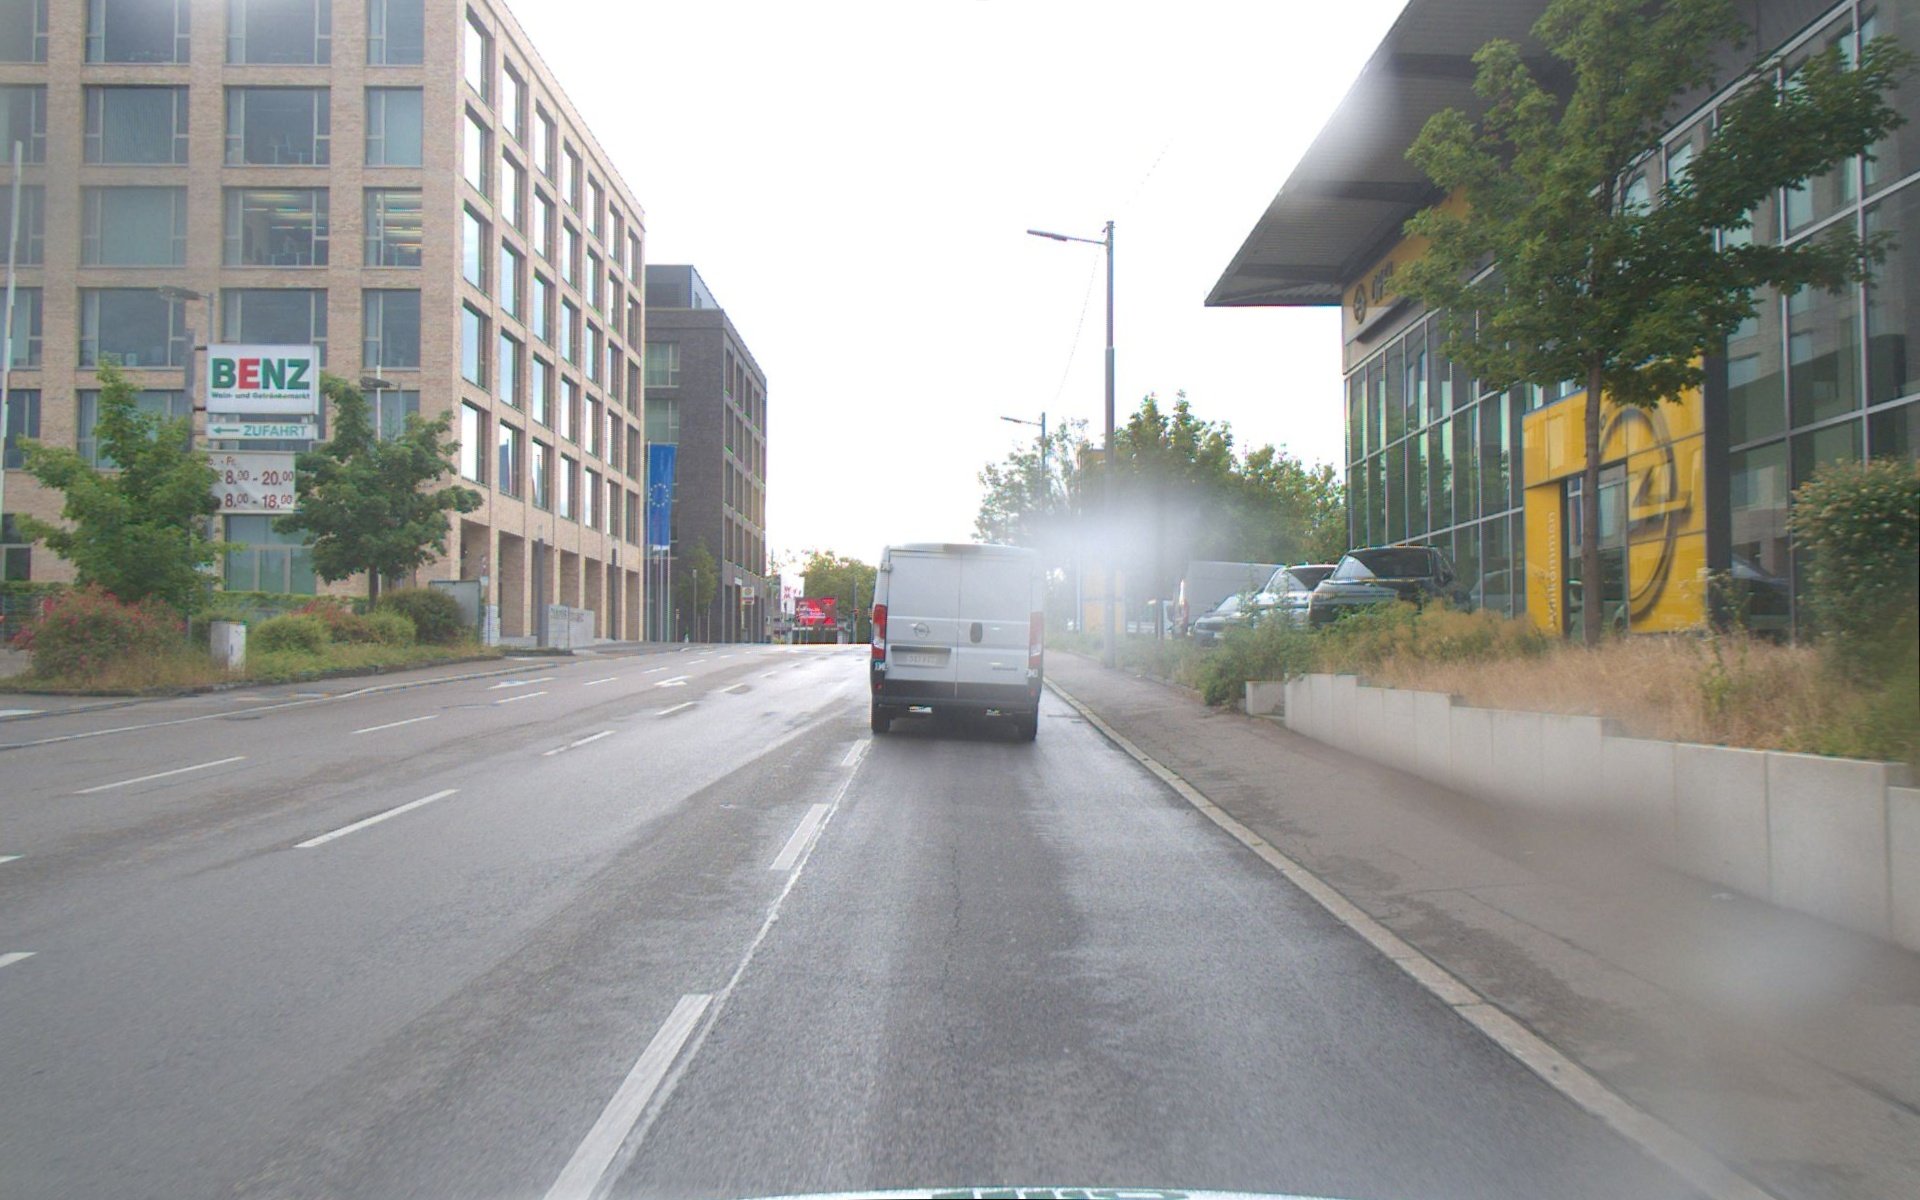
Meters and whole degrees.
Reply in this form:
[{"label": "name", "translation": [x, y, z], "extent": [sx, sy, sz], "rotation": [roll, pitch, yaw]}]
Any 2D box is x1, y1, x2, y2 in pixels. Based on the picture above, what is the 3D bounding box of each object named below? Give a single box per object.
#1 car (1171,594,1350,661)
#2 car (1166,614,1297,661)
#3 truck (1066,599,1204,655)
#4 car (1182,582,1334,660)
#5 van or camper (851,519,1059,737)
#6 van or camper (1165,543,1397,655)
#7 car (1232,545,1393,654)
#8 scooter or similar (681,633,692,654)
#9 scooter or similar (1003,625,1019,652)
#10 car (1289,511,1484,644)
[{"label": "car", "translation": [7.188, 0.659, 39.326], "extent": [4.482, 1.480, 1.885], "rotation": [0, -3, -43]}, {"label": "car", "translation": [8.692, 1.199, 53.167], "extent": [3.905, 1.453, 1.895], "rotation": [1, -1, 0]}, {"label": "truck", "translation": [6.783, 1.055, 64.377], "extent": [5.044, 2.049, 2.344], "rotation": [1, -1, -3]}, {"label": "car", "translation": [6.347, 0.475, 34.828], "extent": [1.873, 1.480, 4.566], "rotation": [-2, -2, 27]}, {"label": "van or camper", "translation": [-0.033, 0.348, 21.090], "extent": [2.292, 2.398, 5.199], "rotation": [1, -1, 0]}, {"label": "van or camper", "translation": [8.370, 0.001, 43.546], "extent": [5.620, 2.772, 2.351], "rotation": [1, -1, -1]}, {"label": "car", "translation": [6.372, 0.050, 29.514], "extent": [1.953, 1.741, 4.576], "rotation": [-2, -2, 22]}, {"label": "scooter or similar", "translation": [-15.311, 2.438, 92.505], "extent": [0.343, 1.090, 1.428], "rotation": [1, -3, 0]}, {"label": "scooter or similar", "translation": [3.099, 2.340, 100.662], "extent": [0.428, 1.615, 1.264], "rotation": [1, -1, -22]}, {"label": "car", "translation": [6.464, -0.247, 24.730], "extent": [1.954, 1.741, 4.424], "rotation": [-2, -2, 26]}]
